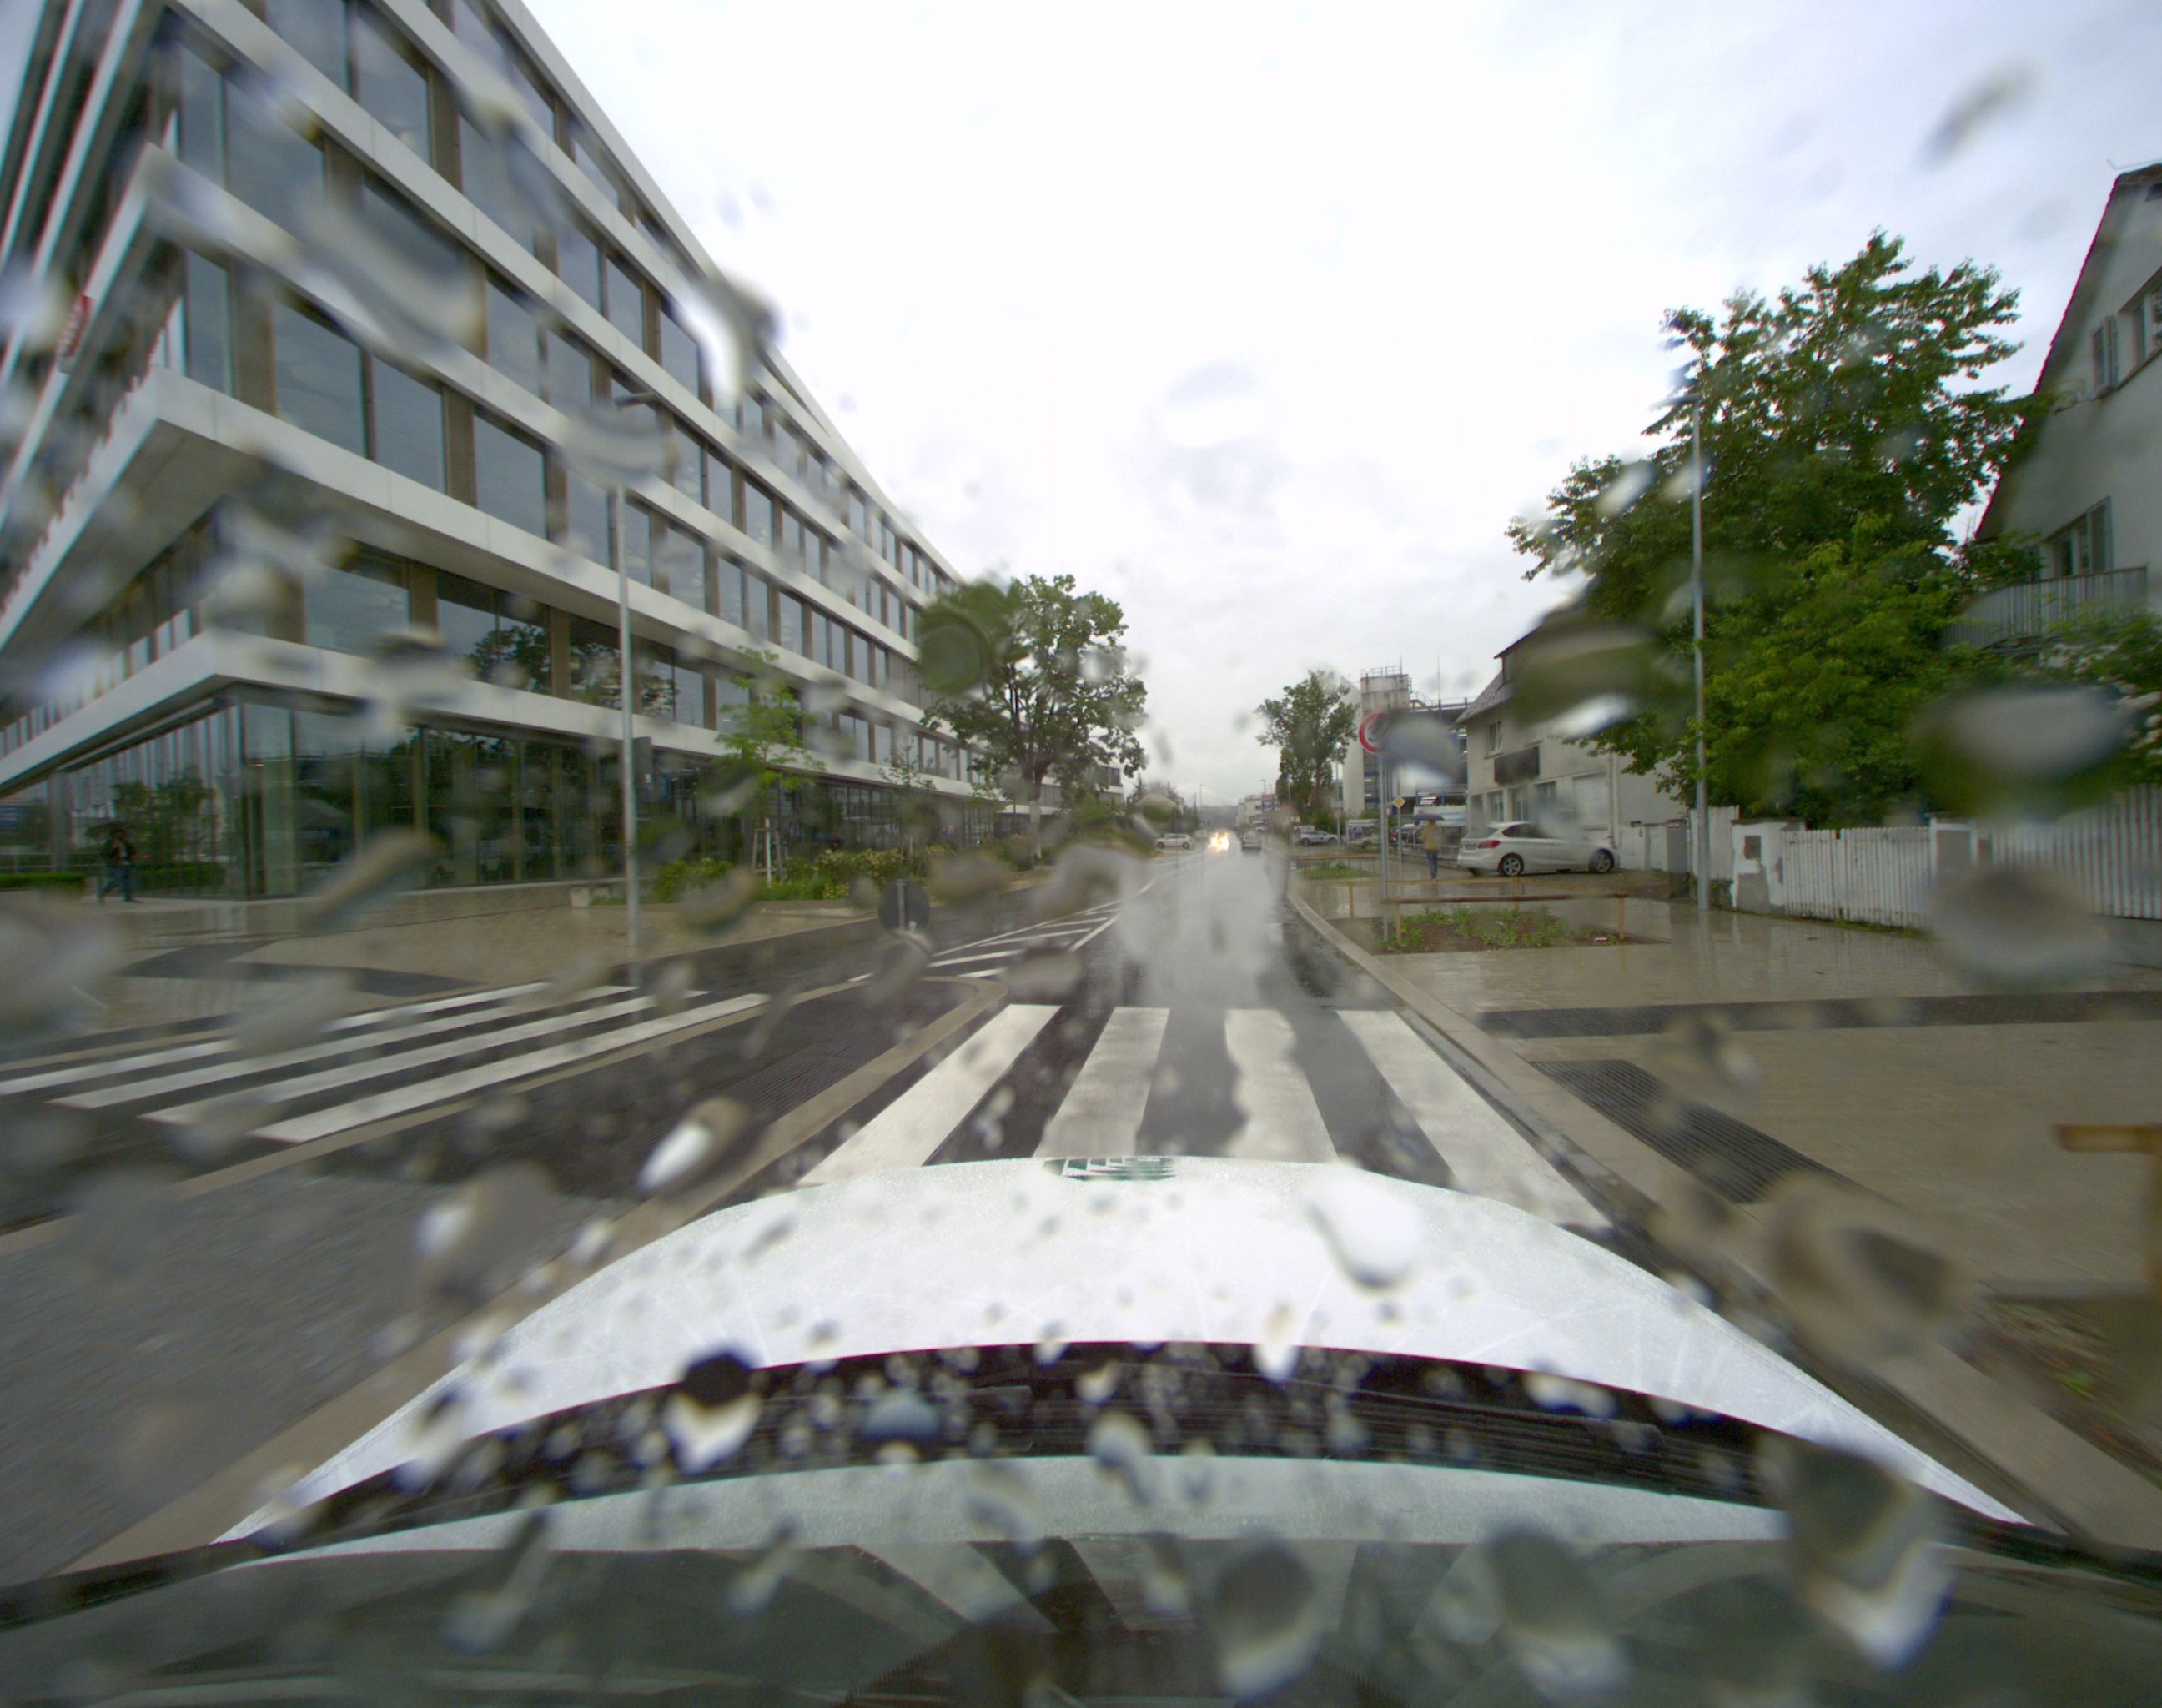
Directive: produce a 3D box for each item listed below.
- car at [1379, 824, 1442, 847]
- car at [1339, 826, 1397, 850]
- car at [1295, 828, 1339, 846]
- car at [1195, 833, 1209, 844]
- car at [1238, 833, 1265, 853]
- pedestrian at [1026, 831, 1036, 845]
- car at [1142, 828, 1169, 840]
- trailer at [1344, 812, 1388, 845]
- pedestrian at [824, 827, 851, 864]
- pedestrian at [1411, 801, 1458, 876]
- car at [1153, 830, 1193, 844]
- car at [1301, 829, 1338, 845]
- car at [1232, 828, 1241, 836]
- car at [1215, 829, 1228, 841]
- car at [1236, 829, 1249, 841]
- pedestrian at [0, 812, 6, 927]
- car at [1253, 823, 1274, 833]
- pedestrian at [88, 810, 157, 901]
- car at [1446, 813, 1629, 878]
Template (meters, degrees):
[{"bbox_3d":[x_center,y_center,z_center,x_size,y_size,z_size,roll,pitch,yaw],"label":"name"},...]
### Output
[{"bbox_3d":[26.268,-1.476,65.018,4.330,1.651,1.849,-1,1,8],"label":"car"},{"bbox_3d":[20.841,-1.157,59.188,3.702,1.529,1.655,-2,0,10],"label":"car"},{"bbox_3d":[24.055,-1.702,82.946,4.172,1.649,2.010,-2,1,20],"label":"car"},{"bbox_3d":[18.865,-2.454,126.789,1.981,1.628,4.166,-1,2,10],"label":"car"},{"bbox_3d":[14.507,-0.946,69.565,1.937,1.555,4.009,3,0,8],"label":"car"},{"bbox_3d":[-6.222,-1.967,101.362,1.008,1.724,0.774,0,1,7],"label":"pedestrian"},{"bbox_3d":[13.721,-3.679,150.395,4.734,2.013,2.001,3,0,2],"label":"car"},{"bbox_3d":[19.829,-1.767,56.733,2.683,2.171,1.554,-1,1,12],"label":"trailer"},{"bbox_3d":[-11.568,-0.416,38.702,0.719,1.703,0.960,3,0,14],"label":"pedestrian"},{"bbox_3d":[9.963,-0.431,23.009,0.854,2.013,1.198,-3,1,9],"label":"pedestrian"},{"bbox_3d":[9.327,-1.719,82.592,3.902,1.423,1.904,-1,1,11],"label":"car"},{"bbox_3d":[25.025,-1.802,85.499,3.591,1.494,1.815,-2,1,19],"label":"car"},{"bbox_3d":[36.235,-5.098,190.281,1.981,1.706,4.011,3,0,10],"label":"car"},{"bbox_3d":[22.598,-3.124,131.424,1.991,1.817,4.993,-1,1,9],"label":"car"},{"bbox_3d":[27.224,-3.176,137.347,2.141,1.706,4.011,3,0,10],"label":"car"},{"bbox_3d":[-19.419,0.282,13.892,0.886,2.013,0.933,0,1,6],"label":"pedestrian"},{"bbox_3d":[38.967,-5.529,173.717,4.090,1.706,1.792,3,0,7],"label":"car"},{"bbox_3d":[-23.435,0.023,19.917,0.919,2.145,1.012,1,1,36],"label":"pedestrian"},{"bbox_3d":[12.954,-0.266,23.254,4.120,1.580,1.998,-3,1,-4],"label":"car"}]
